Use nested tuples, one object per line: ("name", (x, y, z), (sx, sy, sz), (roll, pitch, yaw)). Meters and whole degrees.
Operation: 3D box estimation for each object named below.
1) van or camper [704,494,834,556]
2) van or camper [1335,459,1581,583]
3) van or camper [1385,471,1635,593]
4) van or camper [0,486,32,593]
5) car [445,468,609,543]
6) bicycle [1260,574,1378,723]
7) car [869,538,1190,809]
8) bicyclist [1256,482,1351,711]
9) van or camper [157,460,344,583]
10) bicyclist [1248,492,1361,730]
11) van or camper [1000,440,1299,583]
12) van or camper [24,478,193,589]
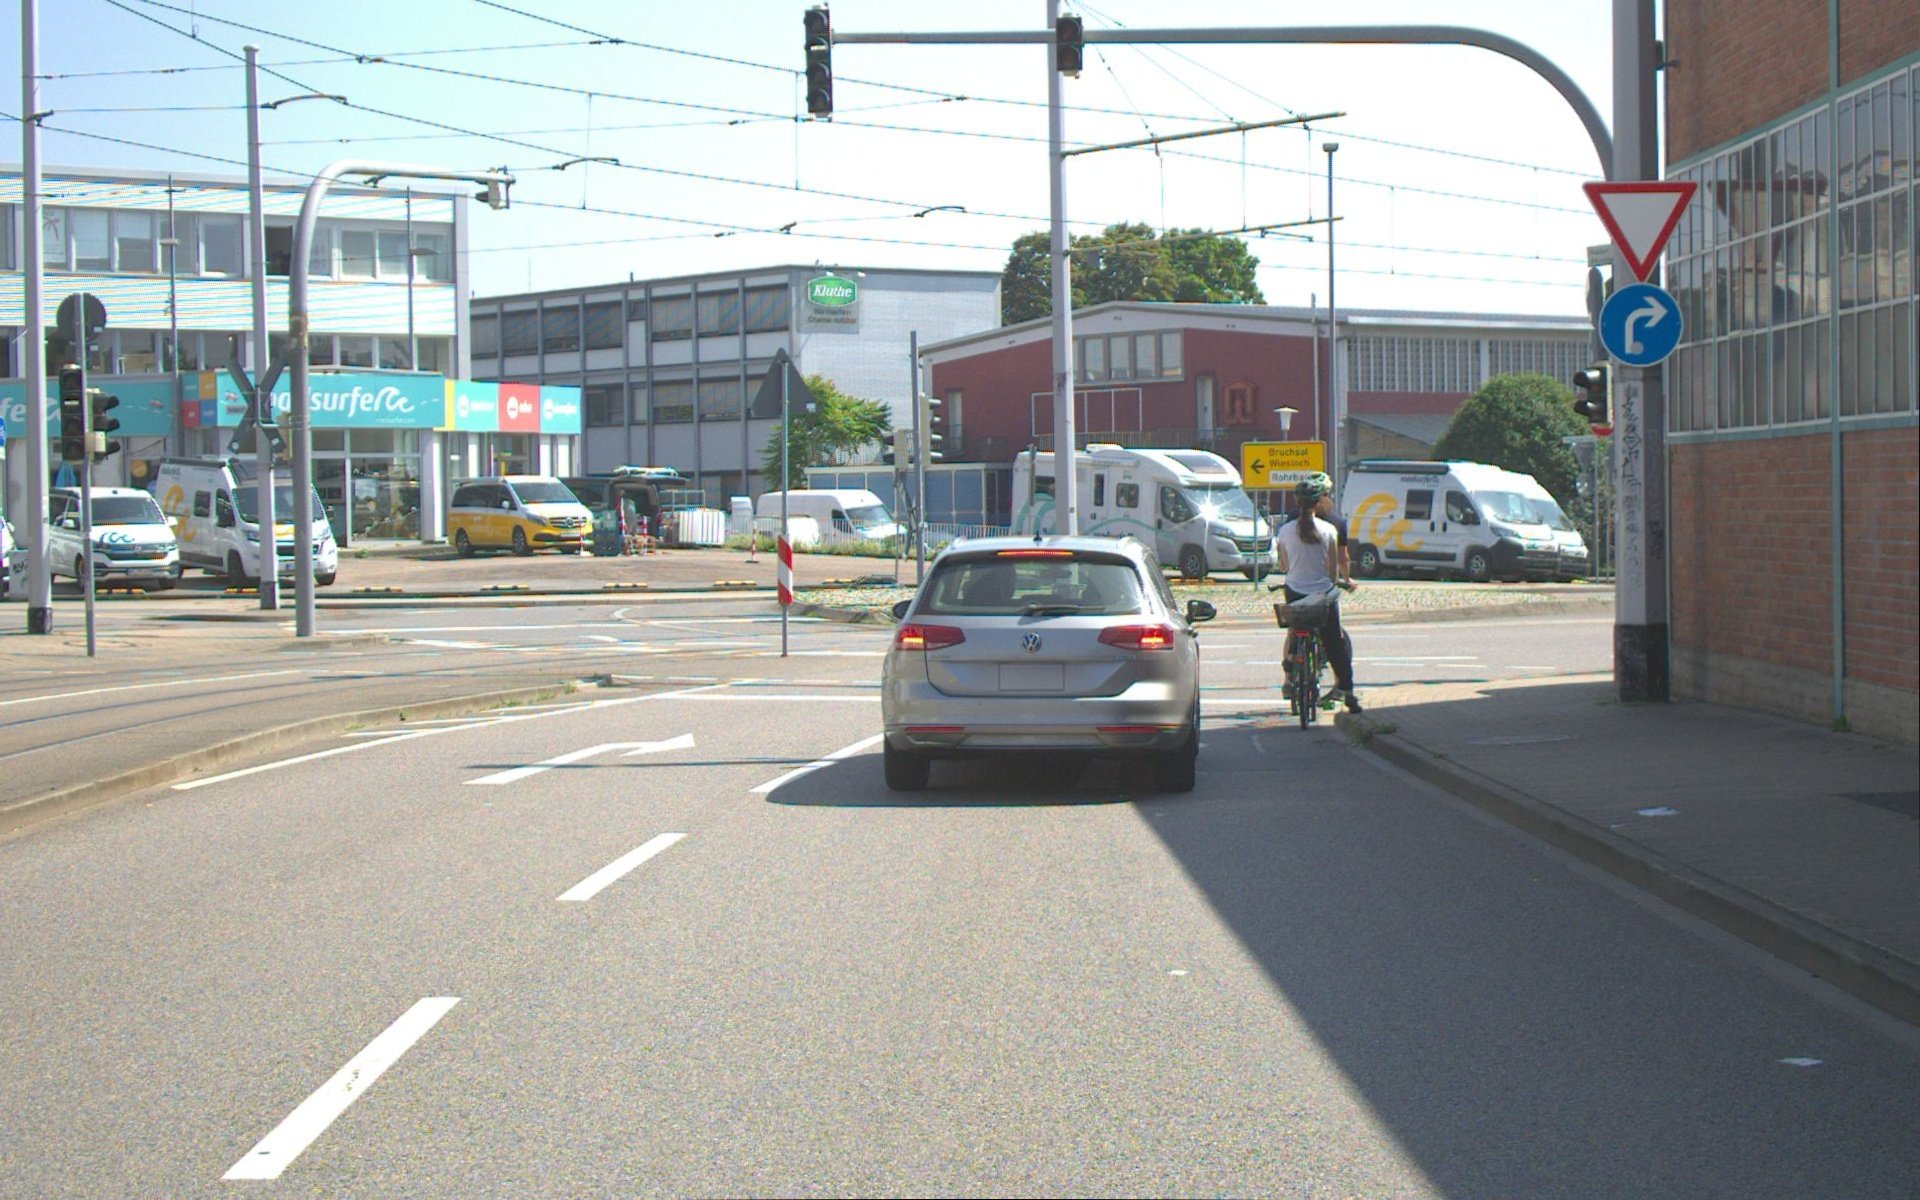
("van or camper", (-6.141, -2.404, 110.551), (3.997, 1.941, 1.995), (1, 2, 44))
("van or camper", (11.052, -1.805, 76.686), (2.282, 2.431, 5.386), (-3, 6, -36))
("van or camper", (12.810, -1.640, 80.532), (2.282, 2.602, 5.892), (-3, 4, -36))
("van or camper", (-20.208, -1.259, 68.785), (1.993, 2.006, 4.763), (-2, 4, -30))
("car", (-10.641, -2.298, 84.228), (1.938, 1.753, 5.122), (-1, 1, -33))
("bicycle", (2.636, 0.336, 25.437), (0.794, 1.018, 2.150), (0, 1, 4))
("car", (0.484, 0.368, 20.838), (1.746, 1.454, 4.000), (-1, 1, 3))
("bicyclist", (2.761, -0.038, 27.690), (0.708, 1.804, 0.983), (0, 1, 3))
("van or camper", (-14.612, -1.657, 70.585), (2.031, 2.288, 5.813), (-2, 4, -30))
("bicyclist", (2.531, 0.070, 25.377), (0.786, 1.716, 1.147), (0, 1, 4))
("van or camper", (4.099, -2.020, 75.908), (2.347, 2.920, 6.984), (-3, 5, -42))
("van or camper", (-17.178, -1.381, 69.214), (1.993, 2.006, 5.011), (-2, 4, -30))
